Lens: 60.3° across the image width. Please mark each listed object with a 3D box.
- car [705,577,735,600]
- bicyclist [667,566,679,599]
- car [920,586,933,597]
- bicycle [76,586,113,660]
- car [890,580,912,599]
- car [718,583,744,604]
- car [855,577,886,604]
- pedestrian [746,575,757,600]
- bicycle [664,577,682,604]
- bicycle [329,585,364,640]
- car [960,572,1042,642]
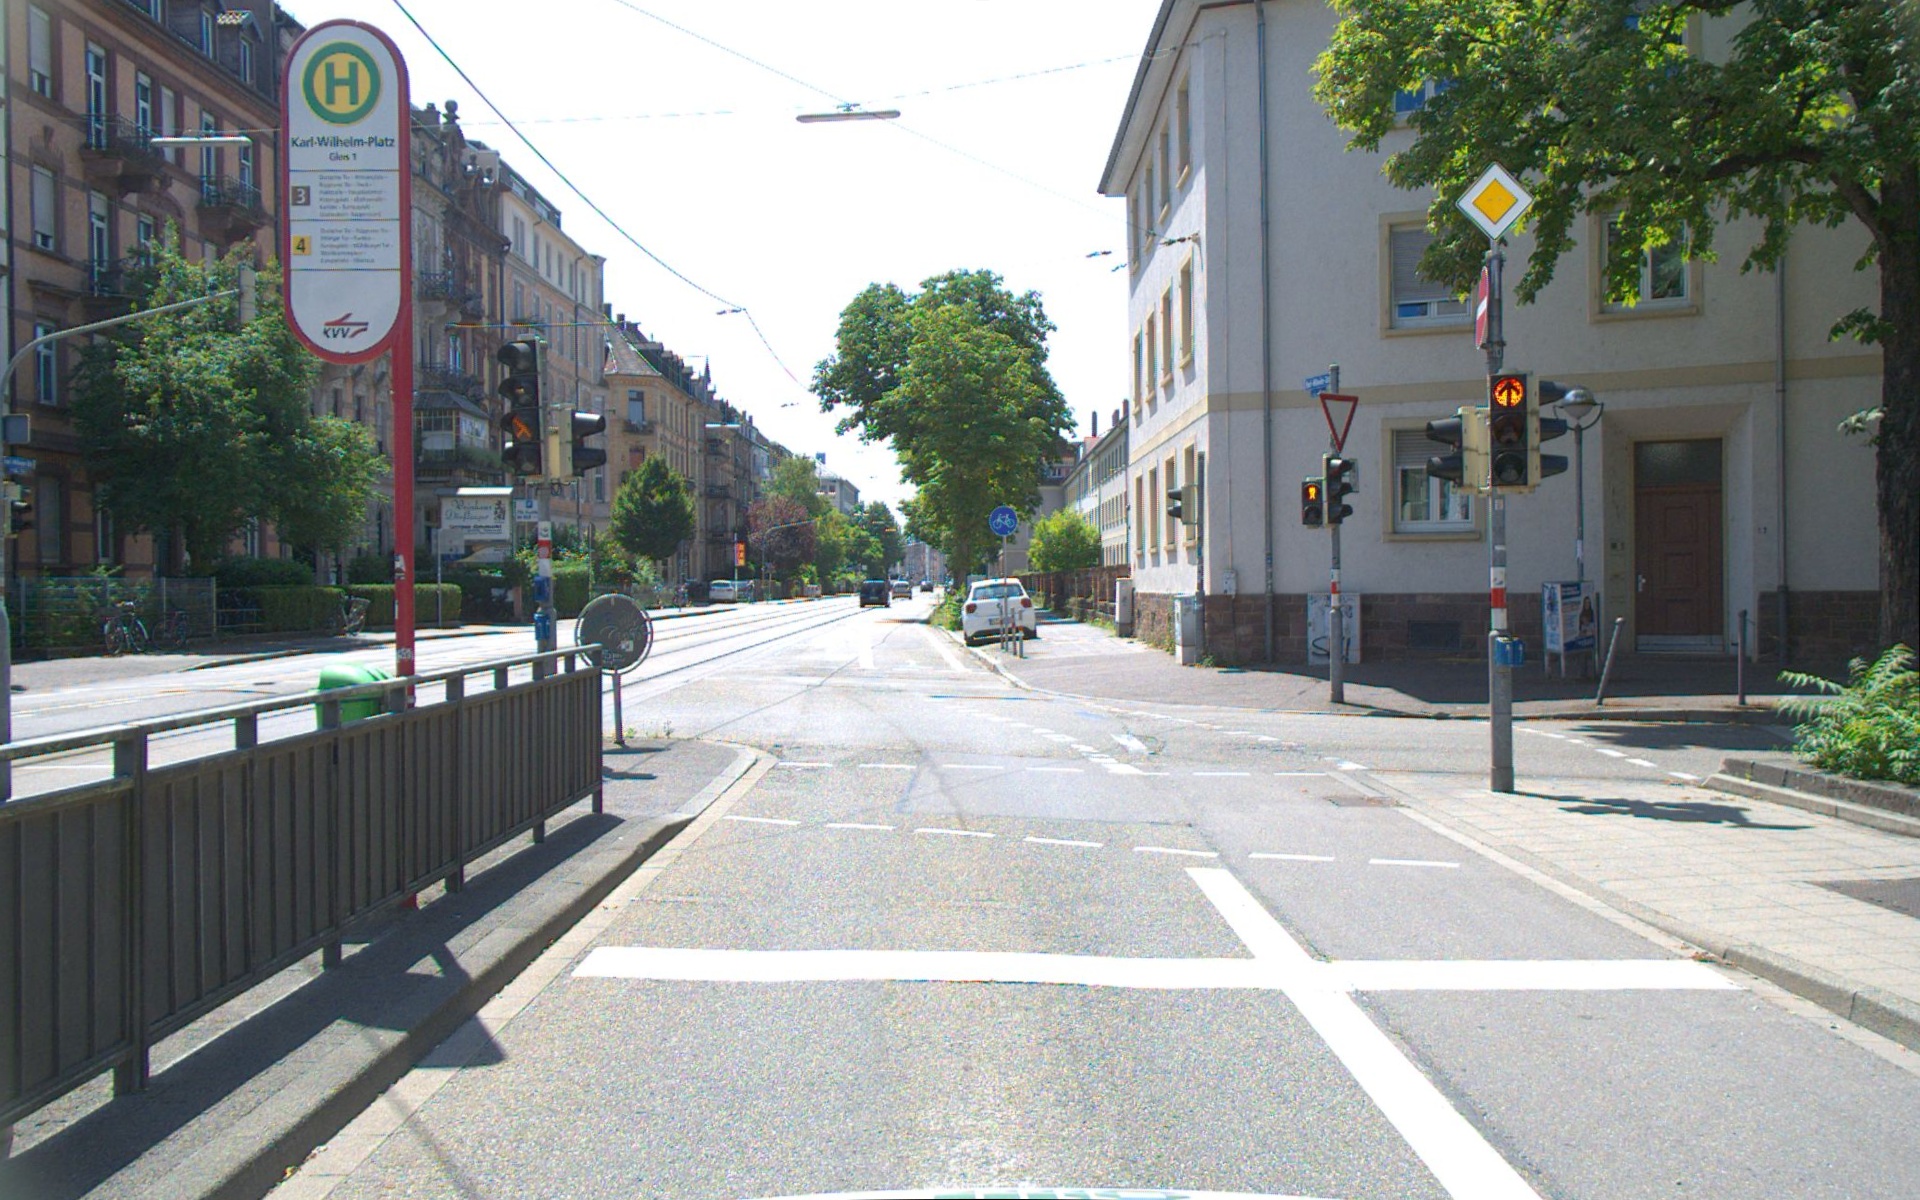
[{"bbox_3d":[-17.060,-0.783,117.669,1.651,1.498,3.936,-4,0,-3],"label":"car"},{"bbox_3d":[-15.339,-0.928,88.344,0.531,1.794,0.498,0,0,-1],"label":"bicyclist"},{"bbox_3d":[-4.587,-1.177,227.353,1.596,1.498,3.562,-4,0,-3],"label":"car"},{"bbox_3d":[-17.099,0.430,32.697,0.607,1.420,2.288,0,0,-27],"label":"bicycle"},{"bbox_3d":[-4.896,-0.856,137.231,1.712,1.498,3.937,-4,0,-1],"label":"car"},{"bbox_3d":[-17.445,-0.503,126.202,1.596,1.498,3.562,-4,0,-3],"label":"car"},{"bbox_3d":[-5.023,-0.523,93.157,1.493,1.469,3.364,-2,0,0],"label":"car"},{"bbox_3d":[-14.639,-0.879,116.095,0.664,1.758,0.677,0,0,-1],"label":"pedestrian"},{"bbox_3d":[-15.341,-0.525,88.414,0.565,1.412,2.501,0,0,-1],"label":"bicycle"},{"bbox_3d":[-15.878,0.311,42.788,0.584,1.380,2.419,0,0,-27],"label":"bicycle"},{"bbox_3d":[0.925,0.150,39.696,1.712,1.498,3.937,-4,0,-1],"label":"car"}]
